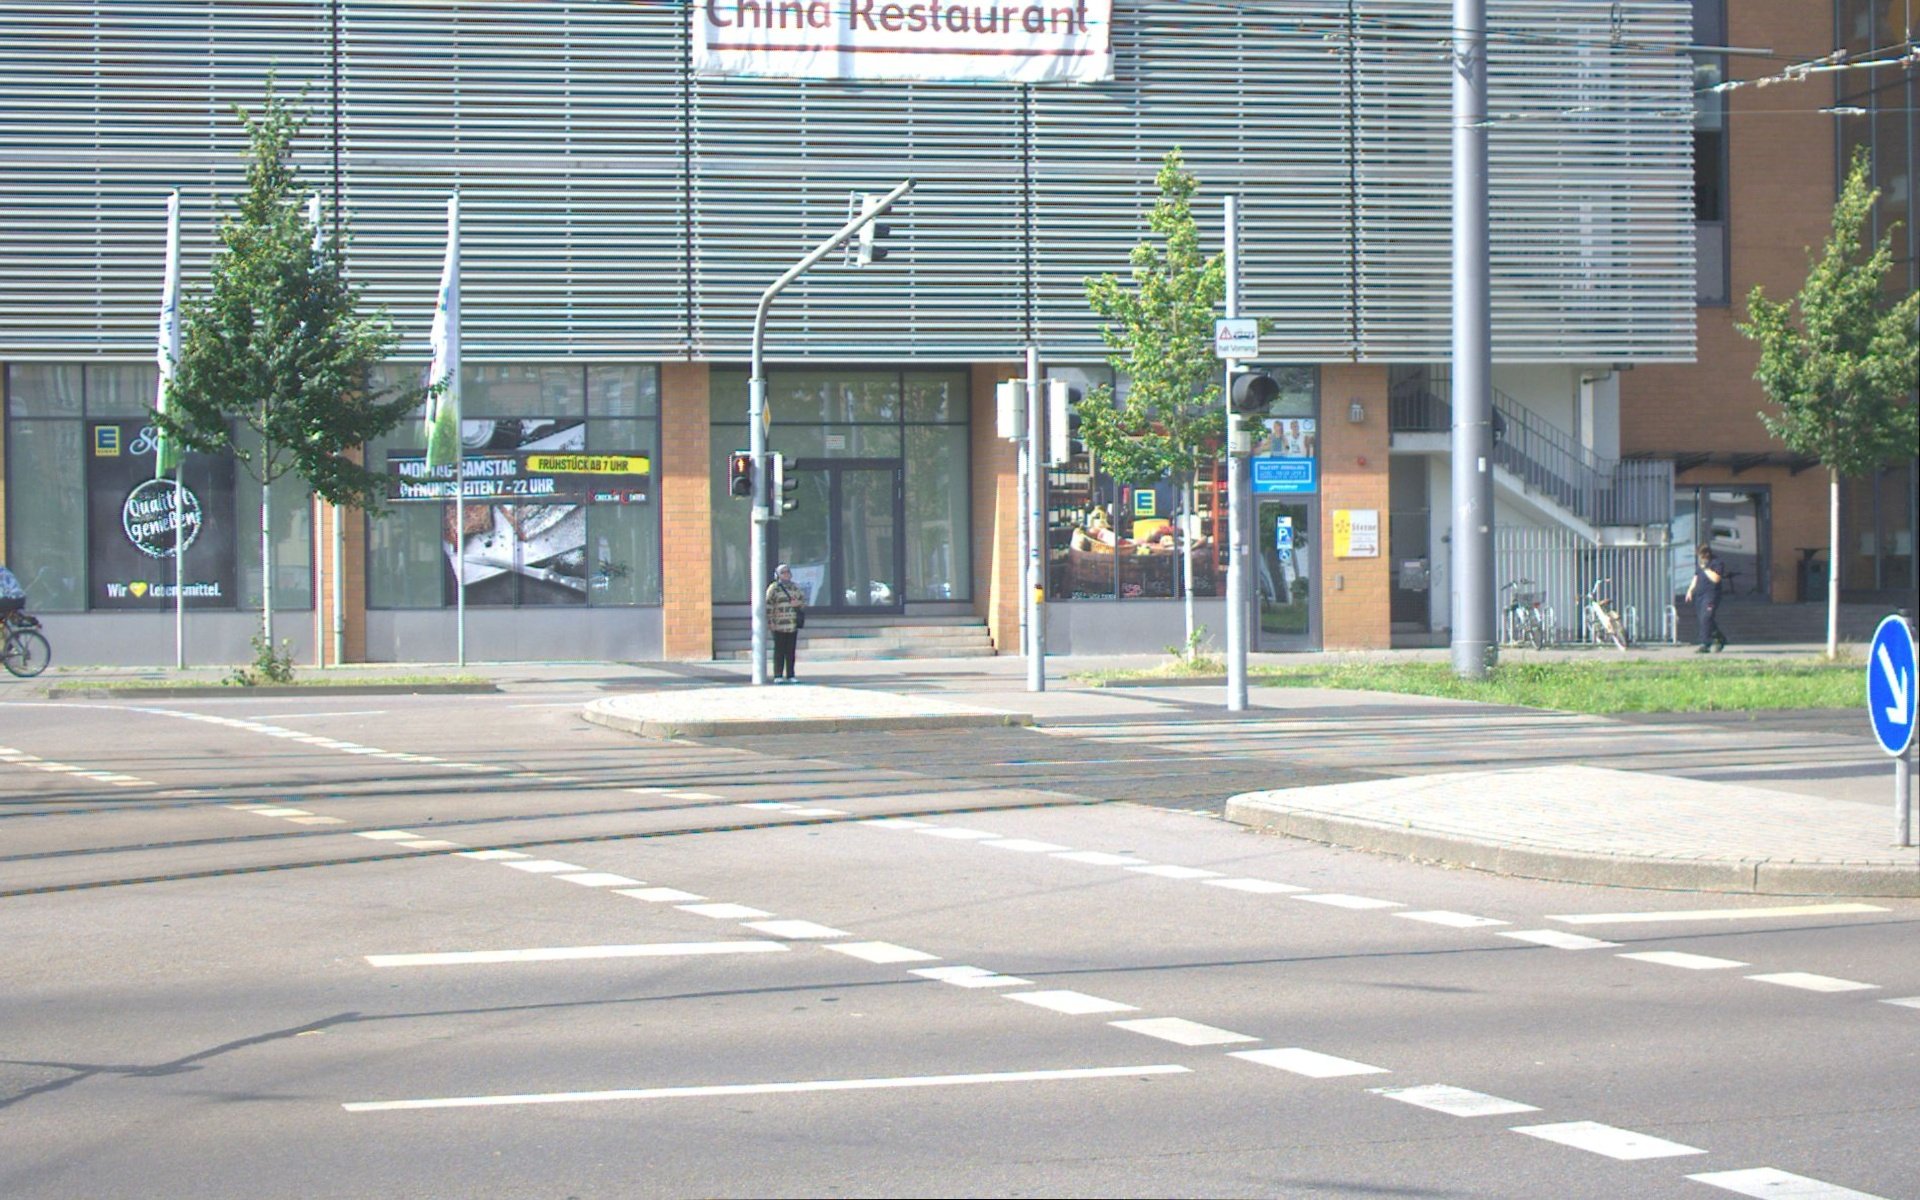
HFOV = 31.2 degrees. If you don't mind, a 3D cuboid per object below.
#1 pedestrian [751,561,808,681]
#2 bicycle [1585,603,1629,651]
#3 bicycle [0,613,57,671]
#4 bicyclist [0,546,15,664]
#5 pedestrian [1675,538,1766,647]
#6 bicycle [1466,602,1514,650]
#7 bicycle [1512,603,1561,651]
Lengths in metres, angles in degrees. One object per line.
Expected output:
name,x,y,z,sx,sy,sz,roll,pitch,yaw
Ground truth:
pedestrian,-2.401,0.276,45.682,0.588,1.574,0.764,-1,0,-15
bicycle,10.396,0.437,55.268,0.360,0.749,1.024,-1,1,-10
bicycle,-13.444,0.568,47.407,1.862,0.777,0.582,1,0,-9
bicyclist,-13.428,0.066,47.412,0.712,1.624,0.569,1,0,-13
pedestrian,12.120,-0.125,54.823,1.172,1.713,0.820,-1,1,-11
bicycle,8.459,0.416,54.910,0.450,0.749,1.006,-1,1,-10
bicycle,9.227,0.424,55.059,0.450,0.749,1.006,-1,1,-10
